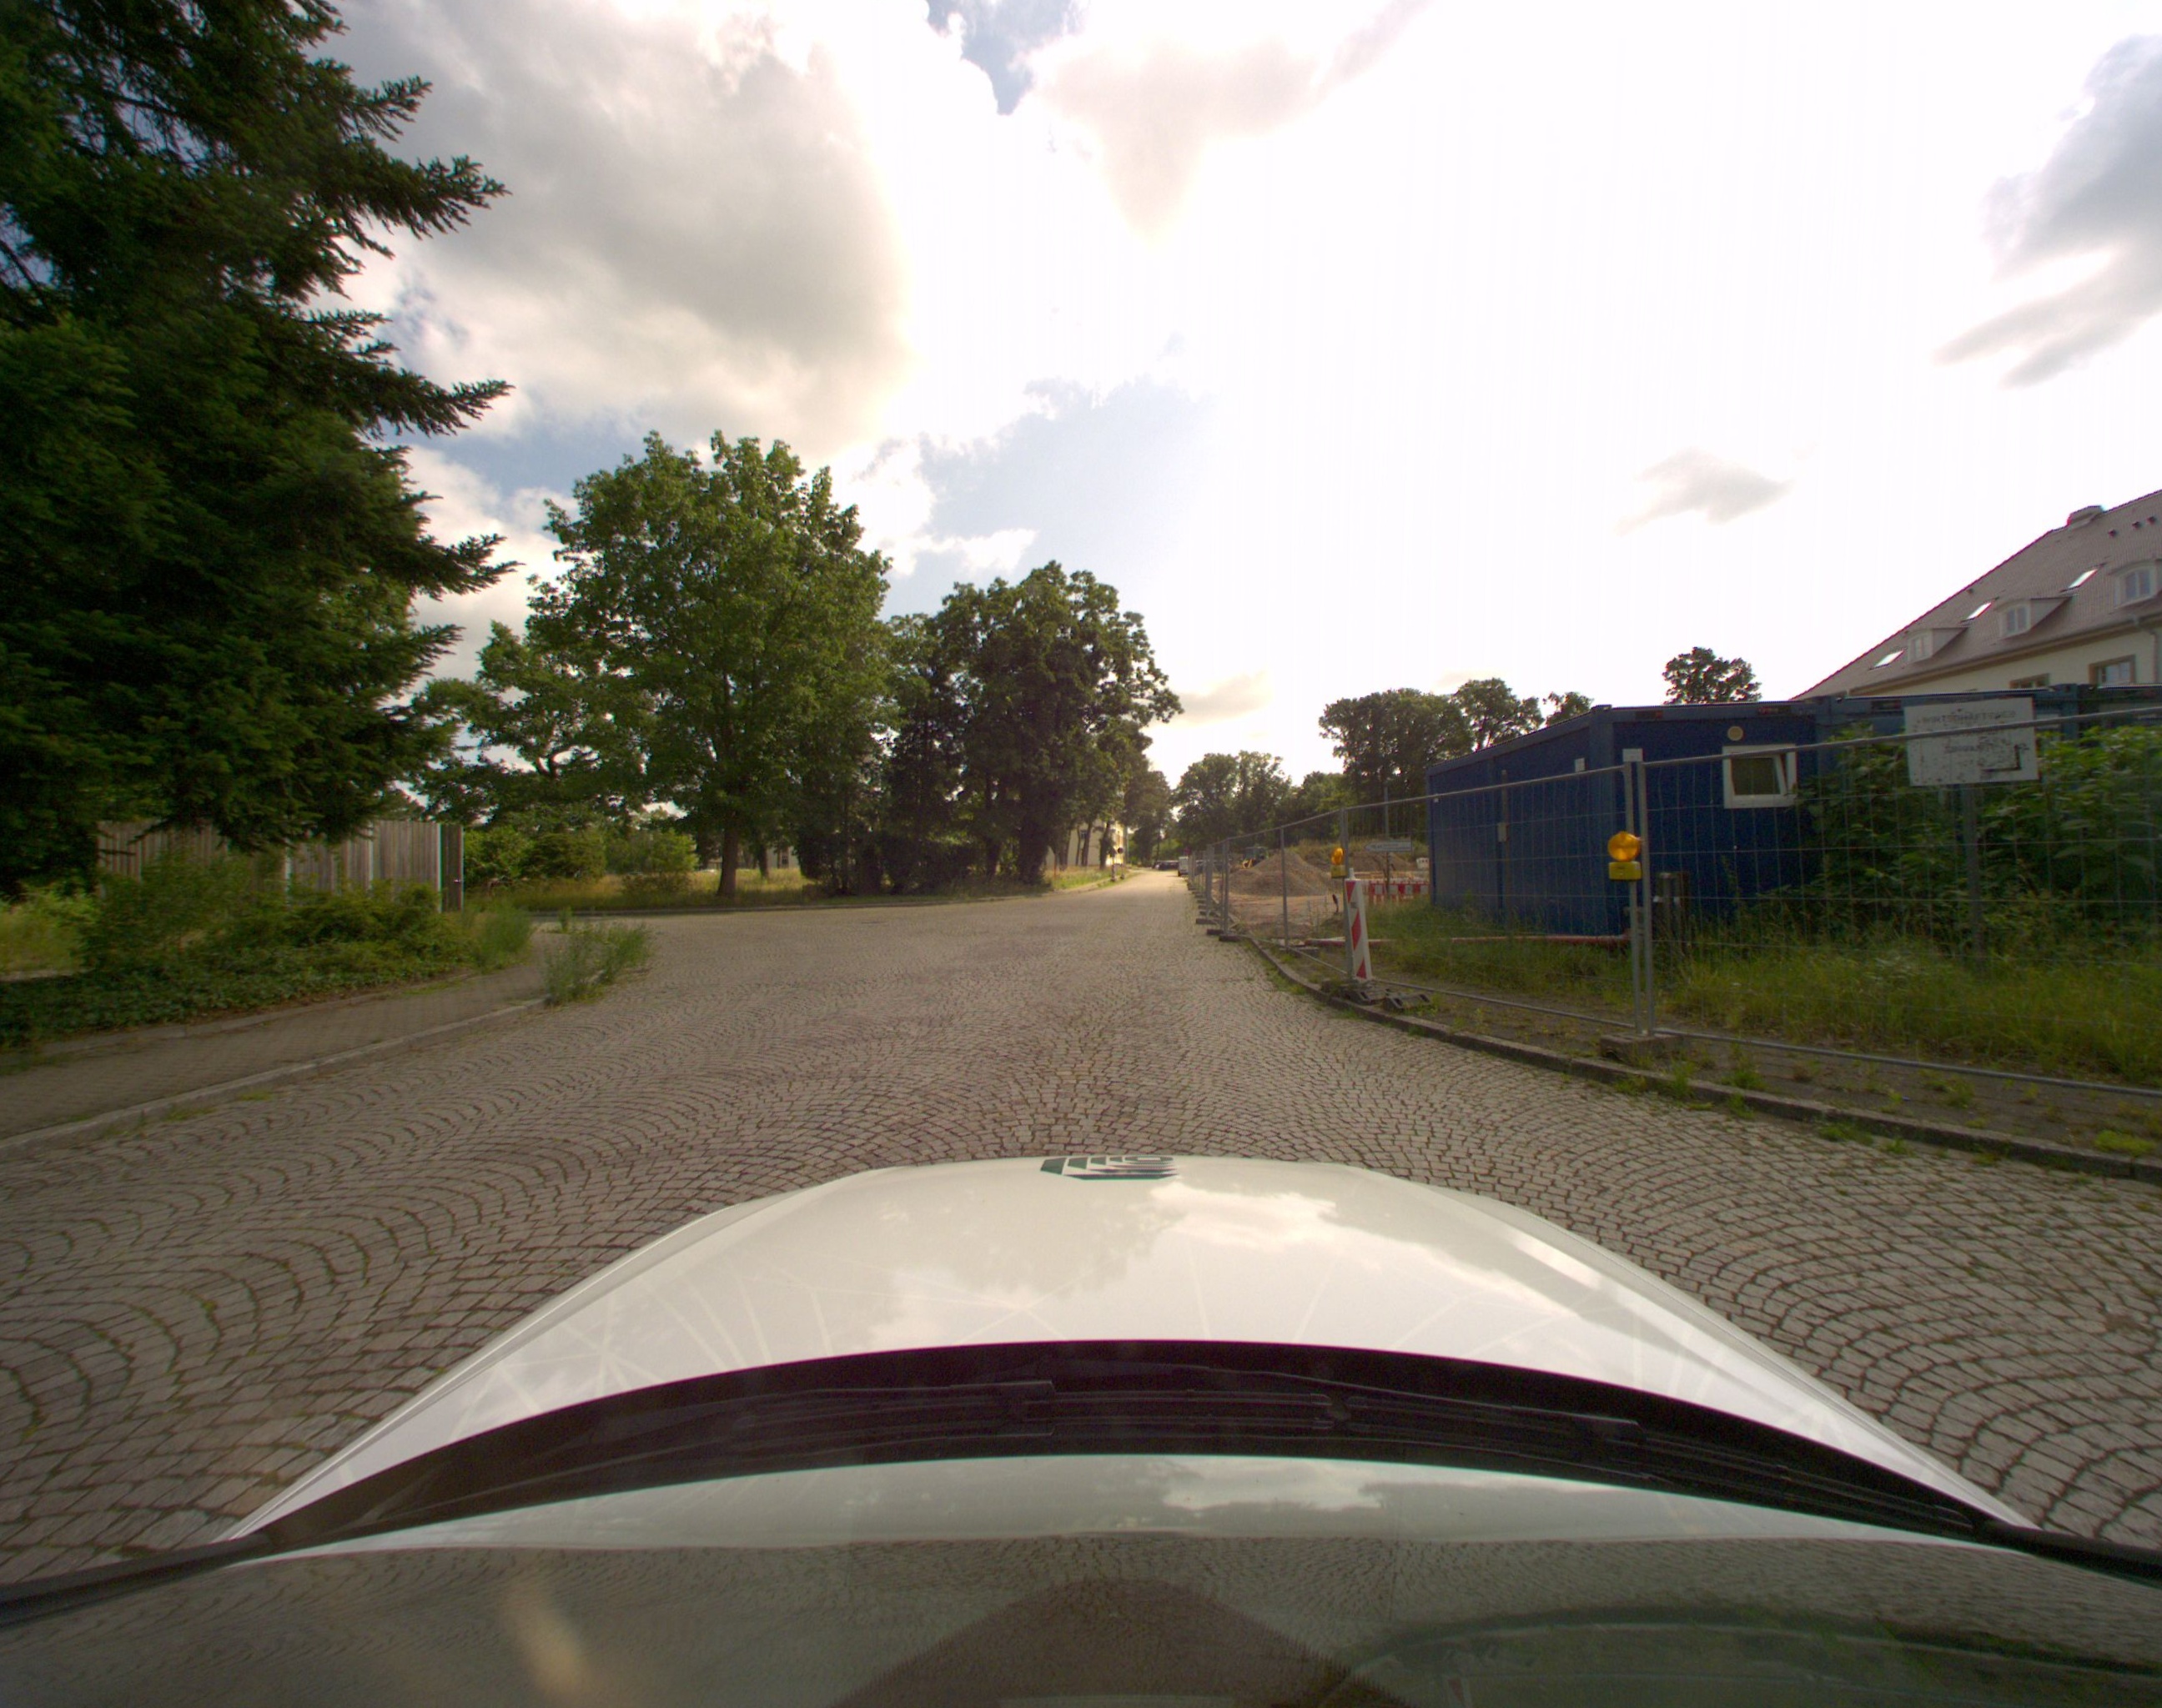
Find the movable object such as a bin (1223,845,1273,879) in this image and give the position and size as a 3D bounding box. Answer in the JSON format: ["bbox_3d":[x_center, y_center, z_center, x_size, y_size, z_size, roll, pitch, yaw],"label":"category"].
[{"bbox_3d":[13.362,0.600,65.080,2.108,2.593,4.821,-2,-1,35],"label":"movable object such as a bin"}]

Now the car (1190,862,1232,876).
[{"bbox_3d":[14.112,1.583,88.325,4.371,1.510,2.007,0,-1,14],"label":"car"}]

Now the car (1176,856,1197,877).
[{"bbox_3d":[10.713,1.242,82.909,1.984,2.014,4.096,-1,-1,5],"label":"car"}]

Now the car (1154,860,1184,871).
[{"bbox_3d":[14.492,1.910,133.993,4.763,1.641,2.000,-1,-1,0],"label":"car"}]

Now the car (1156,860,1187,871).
[{"bbox_3d":[14.598,1.882,130.861,4.763,1.641,2.000,-1,-1,0],"label":"car"}]

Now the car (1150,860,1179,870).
[{"bbox_3d":[14.347,1.961,140.400,4.763,1.641,2.000,-1,-1,0],"label":"car"}]
